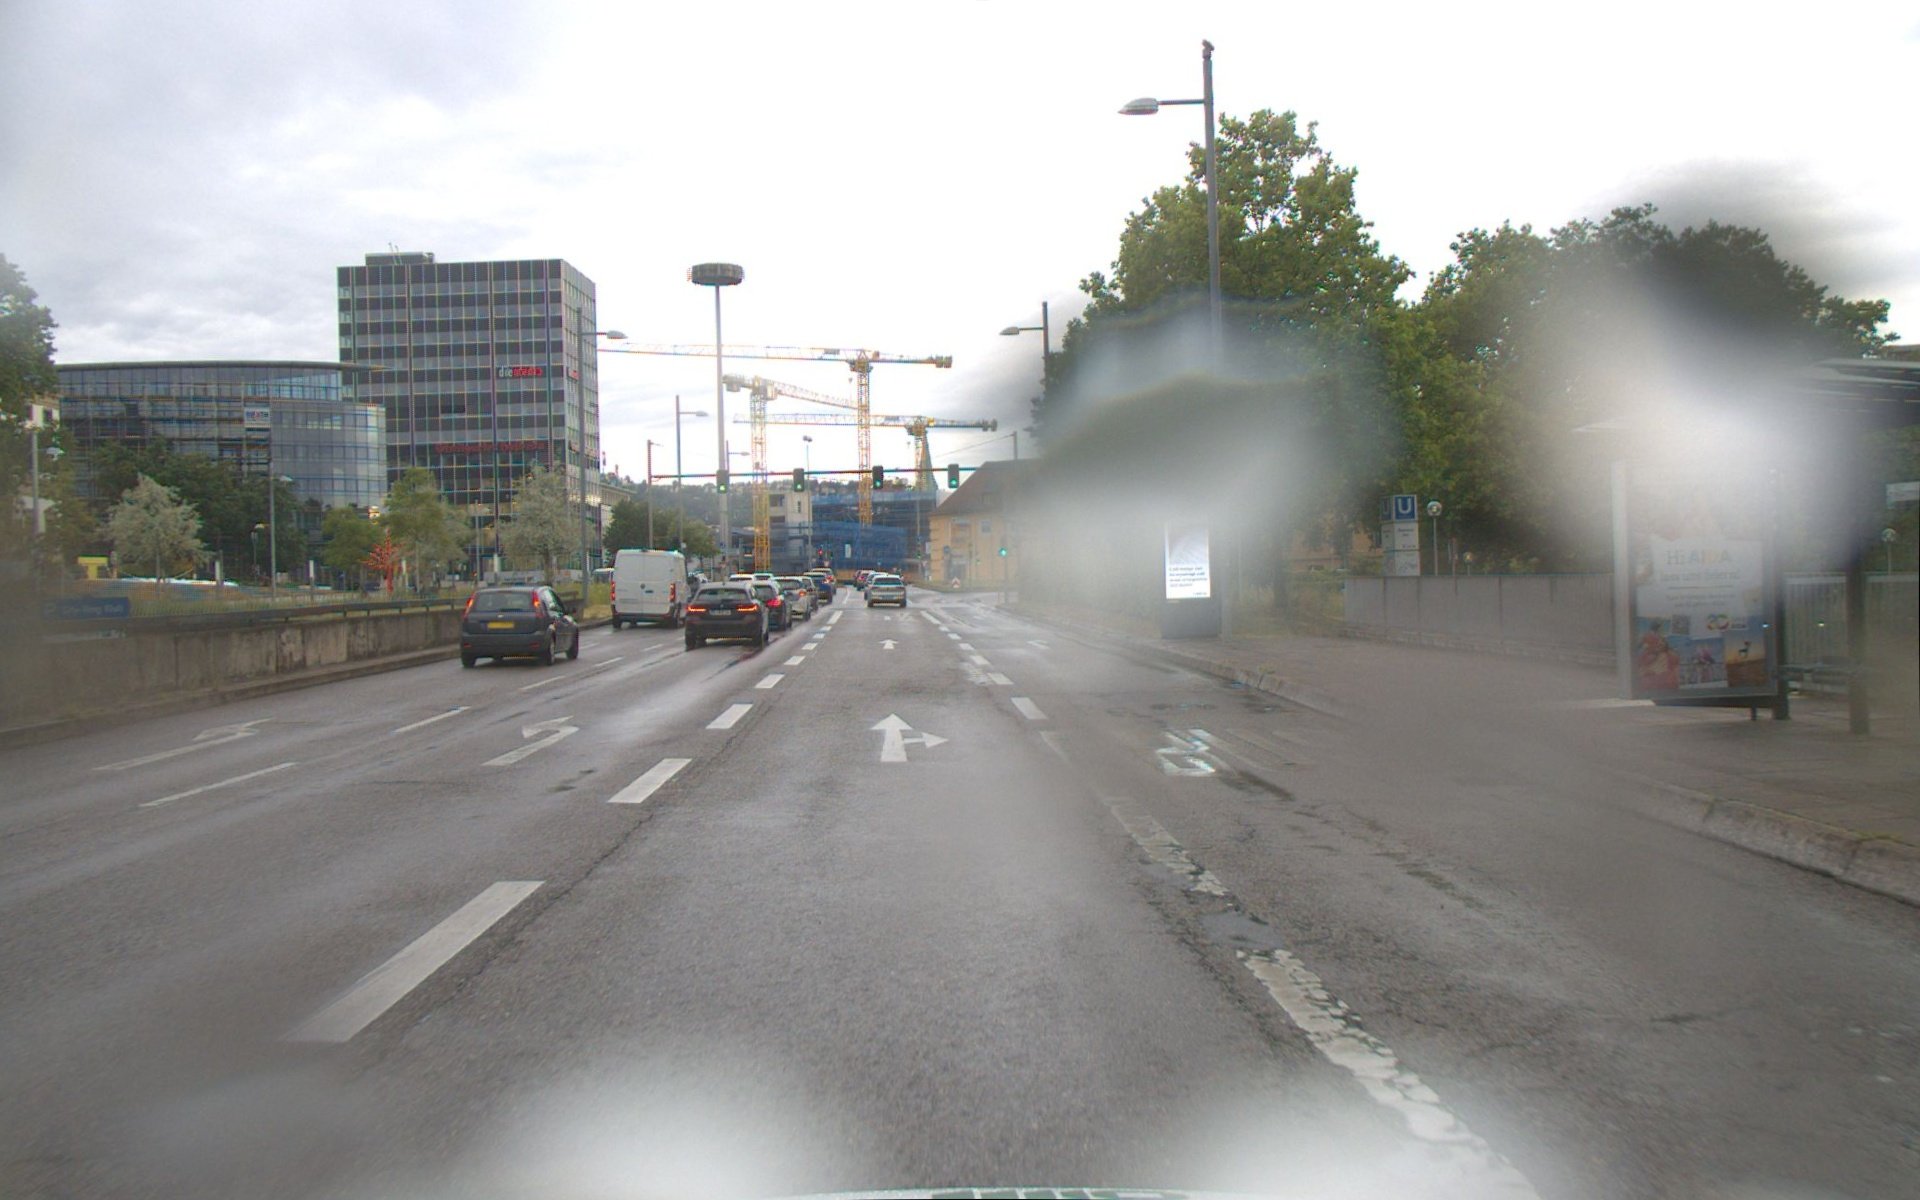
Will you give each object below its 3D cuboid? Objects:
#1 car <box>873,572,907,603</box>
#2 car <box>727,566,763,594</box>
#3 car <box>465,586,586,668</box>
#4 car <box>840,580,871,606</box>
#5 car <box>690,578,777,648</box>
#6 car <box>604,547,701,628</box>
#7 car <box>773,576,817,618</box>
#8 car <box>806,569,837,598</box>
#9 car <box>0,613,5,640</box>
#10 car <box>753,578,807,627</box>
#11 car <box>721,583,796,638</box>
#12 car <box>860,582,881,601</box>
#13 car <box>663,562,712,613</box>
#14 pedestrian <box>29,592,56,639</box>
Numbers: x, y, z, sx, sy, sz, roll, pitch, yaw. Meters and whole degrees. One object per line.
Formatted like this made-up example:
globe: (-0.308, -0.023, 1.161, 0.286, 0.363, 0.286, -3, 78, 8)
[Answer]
car: (-3.165, -0.553, 75.093, 1.414, 1.383, 2.412, 0, -1, 0)
car: (-10.607, -0.974, 81.698, 1.520, 1.282, 2.579, 0, -1, -3)
car: (-8.107, 0.489, 31.132, 1.512, 1.440, 3.898, 0, 0, -4)
car: (-8.049, -0.504, 127.459, 2.117, 1.912, 3.770, 0, -1, 0)
car: (-5.284, 0.262, 39.040, 1.719, 1.497, 4.219, -1, 1, -4)
car: (-9.493, -0.348, 51.460, 2.246, 2.354, 5.003, 0, -1, -2)
car: (-7.063, -0.121, 70.943, 1.682, 1.758, 3.492, 0, -1, -3)
car: (-7.030, -0.836, 83.976, 1.463, 1.393, 3.031, 0, -1, -3)
car: (-40.120, 1.076, 66.842, 1.411, 1.134, 3.018, 0, -1, -3)
car: (-6.343, 0.110, 58.521, 1.844, 1.681, 3.454, 0, -1, -5)
car: (-5.807, 0.314, 48.074, 1.792, 1.521, 3.398, 0, -1, -1)
car: (-4.981, -0.469, 92.101, 1.054, 1.008, 1.971, 0, -1, 0)
car: (-9.686, -0.423, 58.901, 1.435, 1.736, 3.138, 0, -1, -5)
pedestrian: (-43.174, 0.732, 77.855, 0.751, 2.127, 0.727, 0, 5, 4)
